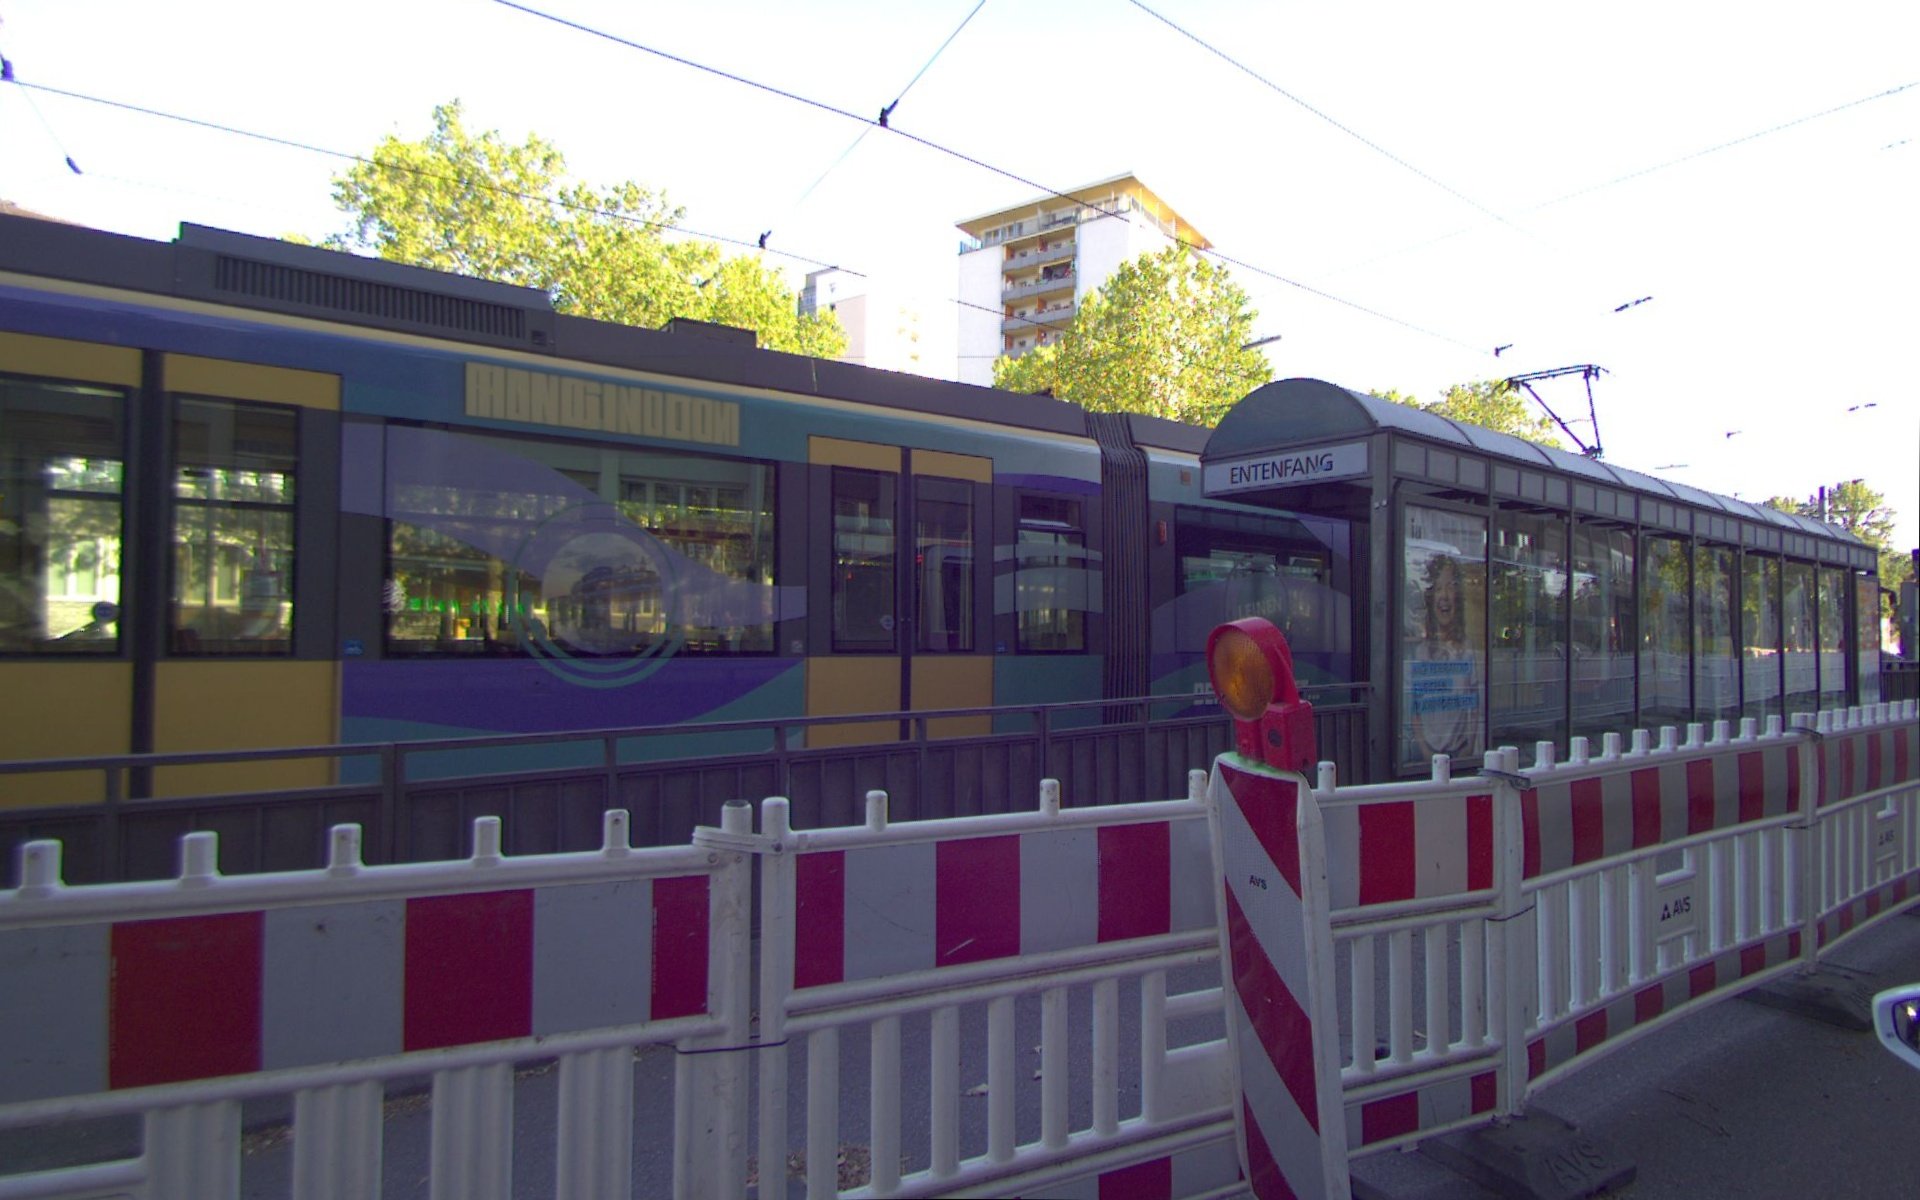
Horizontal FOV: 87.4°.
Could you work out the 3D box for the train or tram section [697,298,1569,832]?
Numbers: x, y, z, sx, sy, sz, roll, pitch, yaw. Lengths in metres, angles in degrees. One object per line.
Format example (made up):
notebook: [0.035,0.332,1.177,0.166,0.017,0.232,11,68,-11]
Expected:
train or tram section: [2.648,-0.088,10.798,10.236,3.533,2.852,2,-1,-35]

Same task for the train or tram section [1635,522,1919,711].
train or tram section: [19.006,0.458,22.997,10.245,3.533,2.795,2,-1,-38]

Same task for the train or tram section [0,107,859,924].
train or tram section: [-5.714,-0.380,4.995,10.229,3.533,2.819,2,-1,-33]

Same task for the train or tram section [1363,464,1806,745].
train or tram section: [10.902,0.202,16.835,10.242,3.533,2.815,2,-1,-37]
